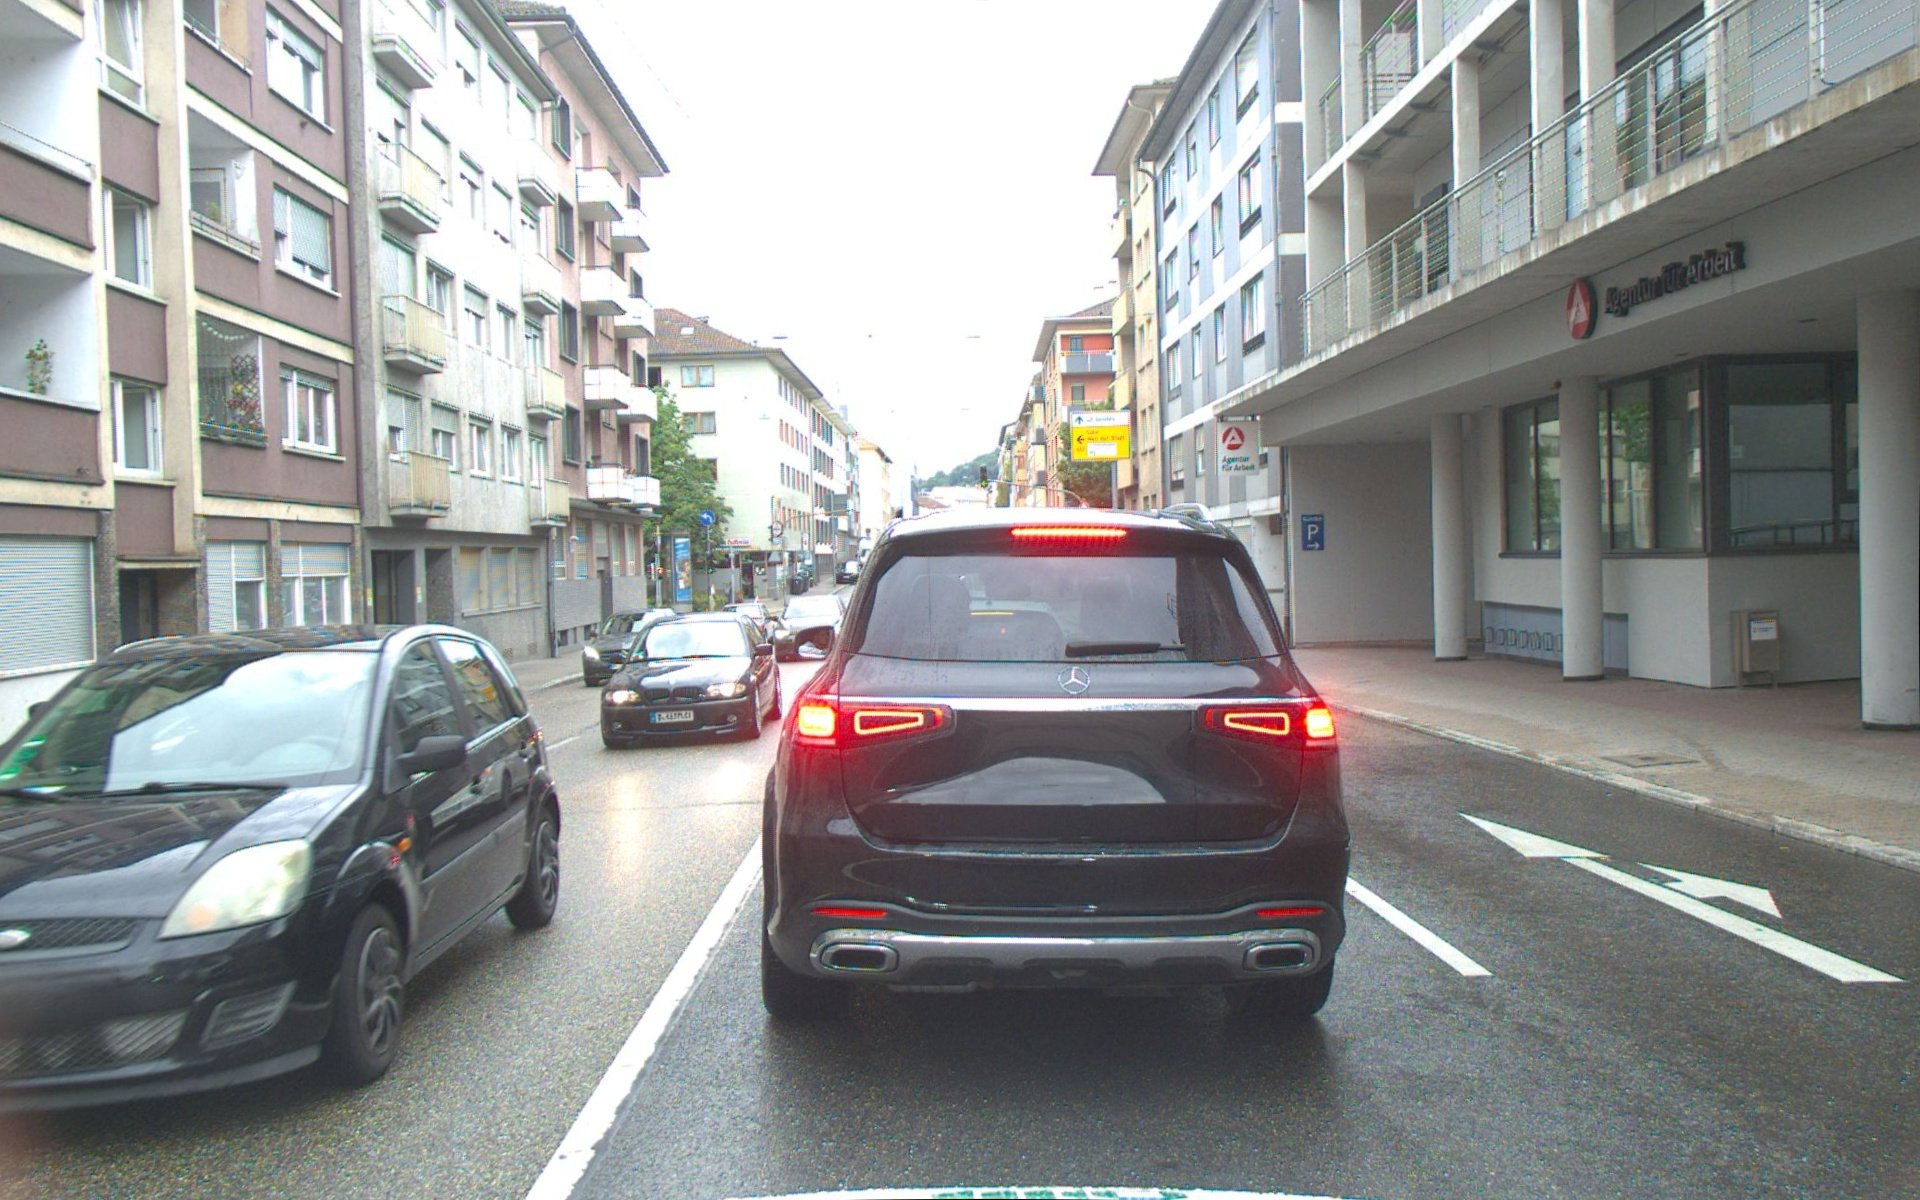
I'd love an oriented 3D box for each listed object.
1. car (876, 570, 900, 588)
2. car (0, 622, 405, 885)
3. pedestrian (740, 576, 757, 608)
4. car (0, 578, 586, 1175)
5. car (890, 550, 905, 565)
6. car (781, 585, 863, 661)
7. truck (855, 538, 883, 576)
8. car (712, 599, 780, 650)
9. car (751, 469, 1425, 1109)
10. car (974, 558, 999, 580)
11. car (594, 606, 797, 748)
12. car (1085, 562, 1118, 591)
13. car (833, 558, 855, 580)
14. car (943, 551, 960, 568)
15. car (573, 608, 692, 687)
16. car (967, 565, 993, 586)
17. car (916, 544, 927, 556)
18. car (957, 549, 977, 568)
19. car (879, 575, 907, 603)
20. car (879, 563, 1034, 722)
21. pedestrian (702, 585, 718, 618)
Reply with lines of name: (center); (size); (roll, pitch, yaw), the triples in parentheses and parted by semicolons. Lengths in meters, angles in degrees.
car: (-5.706, -1.666, 130.998); (1.848, 1.286, 4.215); (-3, 0, -3)
car: (-5.809, 1.018, 12.701); (1.689, 1.498, 4.372); (-4, 1, -2)
pedestrian: (-13.020, -0.467, 101.687); (0.904, 1.935, 0.706); (-2, 0, -3)
car: (-2.698, 0.779, 6.576); (1.586, 1.566, 4.215); (-3, 0, -3)
car: (-7.296, -4.921, 193.607); (1.586, 1.566, 4.215); (-3, 0, -3)
car: (-3.261, 0.546, 39.617); (1.661, 1.608, 4.216); (-4, -1, -2)
truck: (-8.613, -4.033, 156.944); (2.430, 3.099, 9.914); (-3, 0, -3)
car: (-6.554, 0.717, 50.912); (1.566, 1.394, 4.361); (-4, 0, -2)
car: (0.347, 0.564, 7.022); (1.944, 1.836, 4.389); (1, 0, -1)
car: (2.112, -2.495, 132.082); (1.586, 1.566, 4.215); (-3, 0, -3)
car: (-2.987, 0.828, 19.497); (1.660, 1.394, 4.217); (-4, -1, 0)
car: (8.083, -1.347, 94.757); (1.636, 1.616, 3.331); (-2, 1, 1)
car: (-9.222, -2.467, 131.492); (1.586, 1.566, 4.215); (-3, 0, -3)
car: (-0.900, -4.272, 176.207); (1.586, 1.566, 4.215); (-3, 0, -3)
car: (-6.666, 0.931, 34.067); (1.661, 1.394, 4.364); (-4, 0, -2)
car: (1.419, -1.761, 119.848); (1.586, 1.411, 4.215); (-3, 0, -3)
car: (-5.839, -7.550, 250.161); (1.586, 1.566, 4.215); (-3, 0, -3)
car: (0.660, -3.914, 157.548); (1.586, 1.566, 4.215); (-3, 0, -3)
car: (-4.139, -0.632, 101.172); (1.586, 1.566, 4.215); (-3, 0, -3)
car: (-0.140, 0.487, 20.829); (1.716, 1.762, 4.215); (-1, 0, -3)
pedestrian: (-13.865, 0.086, 91.633); (0.622, 1.795, 0.774); (-2, 0, 9)
